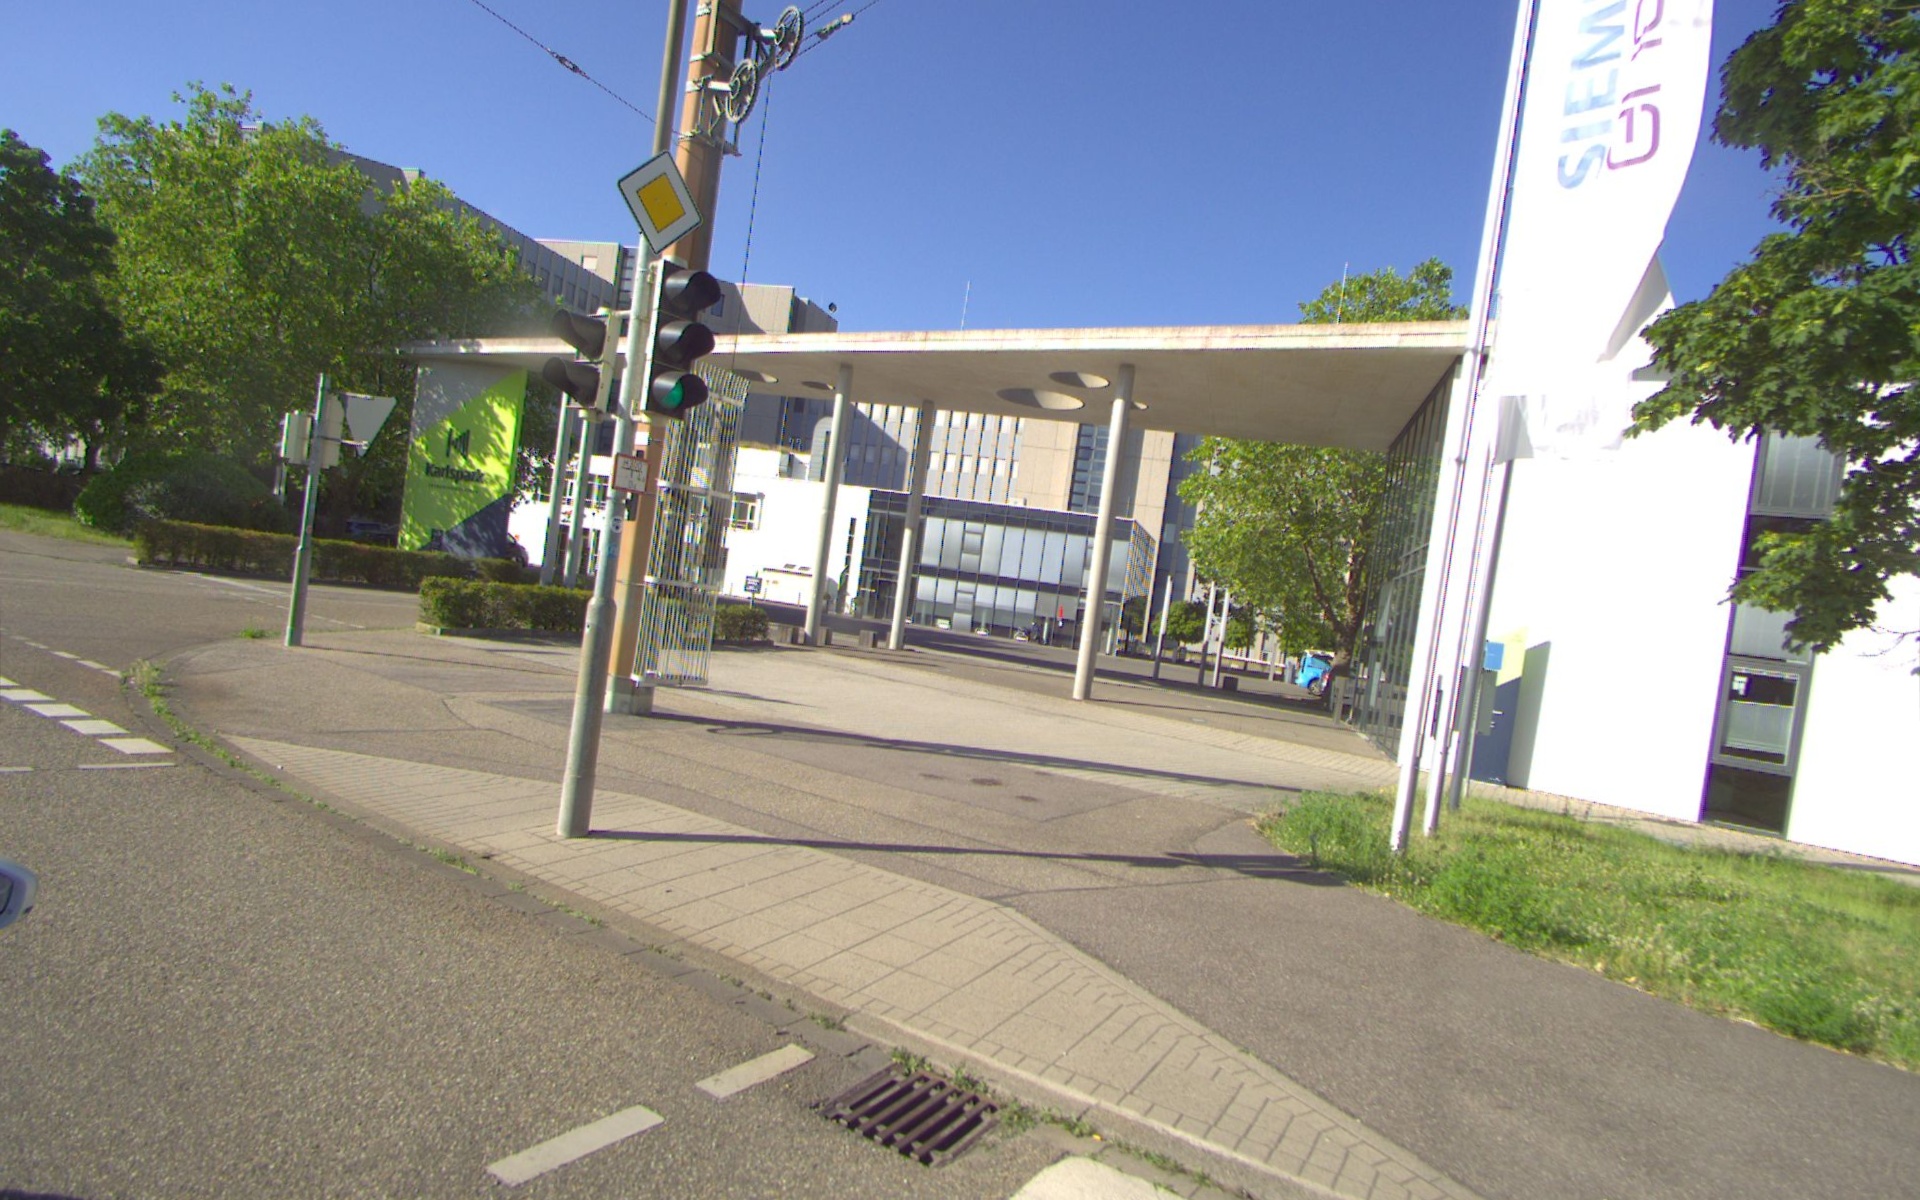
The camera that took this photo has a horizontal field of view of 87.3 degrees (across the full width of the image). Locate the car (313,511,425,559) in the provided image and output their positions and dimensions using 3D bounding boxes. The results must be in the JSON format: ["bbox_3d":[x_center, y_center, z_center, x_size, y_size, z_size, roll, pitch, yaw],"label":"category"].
[{"bbox_3d":[-29.715,-3.225,50.694,1.861,1.707,4.467,8,0,26],"label":"car"}]

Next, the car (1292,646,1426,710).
[{"bbox_3d":[15.957,3.095,40.476,4.635,1.819,1.779,8,1,15],"label":"car"}]

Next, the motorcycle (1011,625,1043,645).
[{"bbox_3d":[3.983,2.062,59.670,1.701,0.959,0.653,8,1,17],"label":"motorcycle"}]

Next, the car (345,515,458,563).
[{"bbox_3d":[-27.445,-2.975,49.596,1.861,1.707,4.467,8,0,26],"label":"car"}]

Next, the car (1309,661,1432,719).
[{"bbox_3d":[15.356,3.347,37.838,3.924,1.462,1.779,8,1,15],"label":"car"}]

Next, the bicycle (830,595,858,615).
[{"bbox_3d":[-7.319,0.327,63.452,1.591,1.016,0.566,8,1,17],"label":"bicycle"}]

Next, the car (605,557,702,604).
[{"bbox_3d":[-13.715,-0.859,45.220,1.918,1.597,3.999,7,0,23],"label":"car"}]
